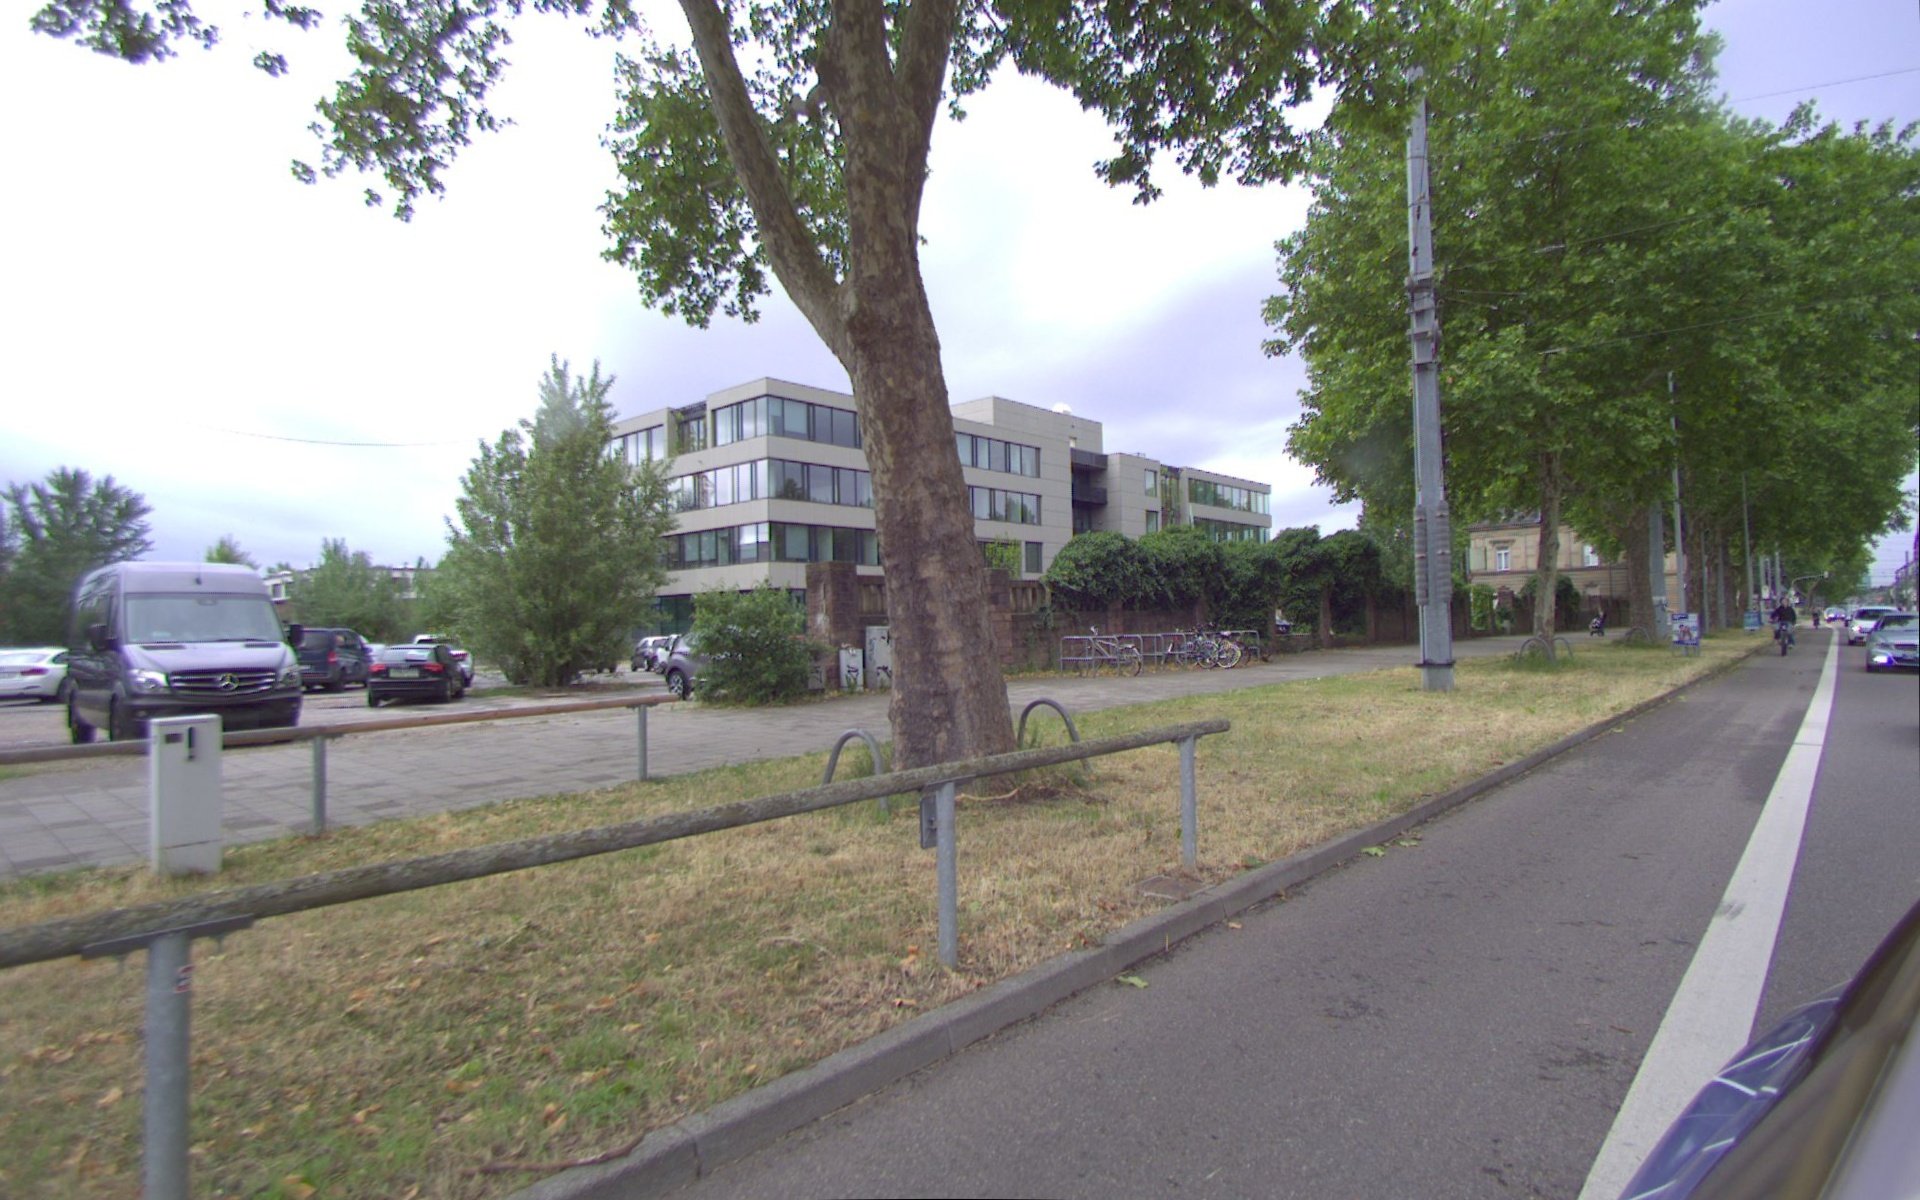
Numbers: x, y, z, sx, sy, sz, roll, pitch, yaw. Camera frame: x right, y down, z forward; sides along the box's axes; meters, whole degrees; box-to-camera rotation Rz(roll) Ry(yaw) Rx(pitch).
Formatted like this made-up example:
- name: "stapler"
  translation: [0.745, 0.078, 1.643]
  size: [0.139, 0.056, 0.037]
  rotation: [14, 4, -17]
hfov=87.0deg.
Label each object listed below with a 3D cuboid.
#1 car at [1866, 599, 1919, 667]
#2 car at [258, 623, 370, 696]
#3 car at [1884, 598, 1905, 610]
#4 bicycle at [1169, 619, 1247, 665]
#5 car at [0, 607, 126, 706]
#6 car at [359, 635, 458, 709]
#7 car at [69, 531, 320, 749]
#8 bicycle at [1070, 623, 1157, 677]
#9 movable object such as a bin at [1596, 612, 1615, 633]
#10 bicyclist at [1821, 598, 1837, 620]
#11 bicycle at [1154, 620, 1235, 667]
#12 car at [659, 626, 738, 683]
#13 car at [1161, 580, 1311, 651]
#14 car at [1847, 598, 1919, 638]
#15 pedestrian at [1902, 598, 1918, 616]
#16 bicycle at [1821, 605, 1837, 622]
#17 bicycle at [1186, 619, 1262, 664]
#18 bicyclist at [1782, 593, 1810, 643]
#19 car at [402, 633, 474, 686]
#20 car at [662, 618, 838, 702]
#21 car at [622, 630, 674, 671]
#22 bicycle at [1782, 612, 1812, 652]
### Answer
- name: "car"
  translation: [22.852, 0.736, 23.977]
  size: [1.992, 1.470, 4.038]
  rotation: [-2, -1, 42]
- name: "car"
  translation: [-19.358, 1.711, 30.511]
  size: [1.958, 1.973, 4.007]
  rotation: [-1, -1, -19]
- name: "car"
  translation: [128.172, 0.530, 138.771]
  size: [1.861, 1.661, 3.721]
  rotation: [-2, -1, 40]
- name: "bicycle"
  translation: [6.345, 1.056, 25.940]
  size: [1.898, 1.111, 0.542]
  rotation: [0, 0, 41]
- name: "car"
  translation: [-24.258, 1.440, 26.678]
  size: [1.958, 2.374, 4.730]
  rotation: [-1, -1, -19]
- name: "car"
  translation: [-13.420, 1.685, 24.813]
  size: [1.959, 1.538, 4.005]
  rotation: [-1, -1, -26]
- name: "car"
  translation: [-11.272, 0.660, 14.693]
  size: [2.136, 2.555, 5.784]
  rotation: [1, -4, -45]
- name: "bicycle"
  translation: [3.395, 1.090, 22.525]
  size: [1.919, 1.105, 0.542]
  rotation: [0, 0, 41]
- name: "movable object such as a bin"
  translation: [34.970, 1.223, 54.797]
  size: [0.997, 1.127, 0.612]
  rotation: [1, -2, -42]
- name: "bicyclist"
  translation: [63.829, 0.658, 74.361]
  size: [0.809, 1.621, 1.173]
  rotation: [-3, -2, 40]
- name: "bicycle"
  translation: [5.884, 1.073, 25.511]
  size: [1.972, 1.108, 0.542]
  rotation: [0, 0, 41]
- name: "car"
  translation: [-8.194, 1.645, 31.479]
  size: [1.958, 1.572, 4.007]
  rotation: [-1, -1, -20]
- name: "car"
  translation: [10.820, 0.650, 39.936]
  size: [5.223, 2.453, 2.045]
  rotation: [-5, -3, 40]
- name: "car"
  translation: [36.603, 0.693, 40.181]
  size: [1.992, 1.470, 4.038]
  rotation: [-2, -1, 42]
- name: "pedestrian"
  translation: [91.684, 0.691, 97.656]
  size: [0.844, 1.664, 0.653]
  rotation: [-2, -1, 0]
- name: "bicycle"
  translation: [63.809, 0.969, 74.337]
  size: [0.811, 1.184, 2.244]
  rotation: [-3, -1, 40]
- name: "bicycle"
  translation: [6.844, 1.062, 26.288]
  size: [1.888, 1.119, 0.542]
  rotation: [0, 0, 41]
- name: "bicyclist"
  translation: [26.489, 0.577, 32.071]
  size: [0.640, 1.550, 0.655]
  rotation: [-3, -2, 40]
- name: "car"
  translation: [-17.033, 1.897, 33.103]
  size: [1.959, 1.538, 4.005]
  rotation: [-1, -1, -26]
- name: "car"
  translation: [-4.516, 1.250, 21.513]
  size: [3.761, 1.600, 1.725]
  rotation: [-3, -2, 41]
- name: "car"
  translation: [-13.745, 2.187, 44.794]
  size: [1.958, 1.639, 4.418]
  rotation: [-1, -1, -14]
- name: "bicycle"
  translation: [26.475, 0.999, 32.015]
  size: [0.651, 1.164, 2.250]
  rotation: [-3, -1, 40]
